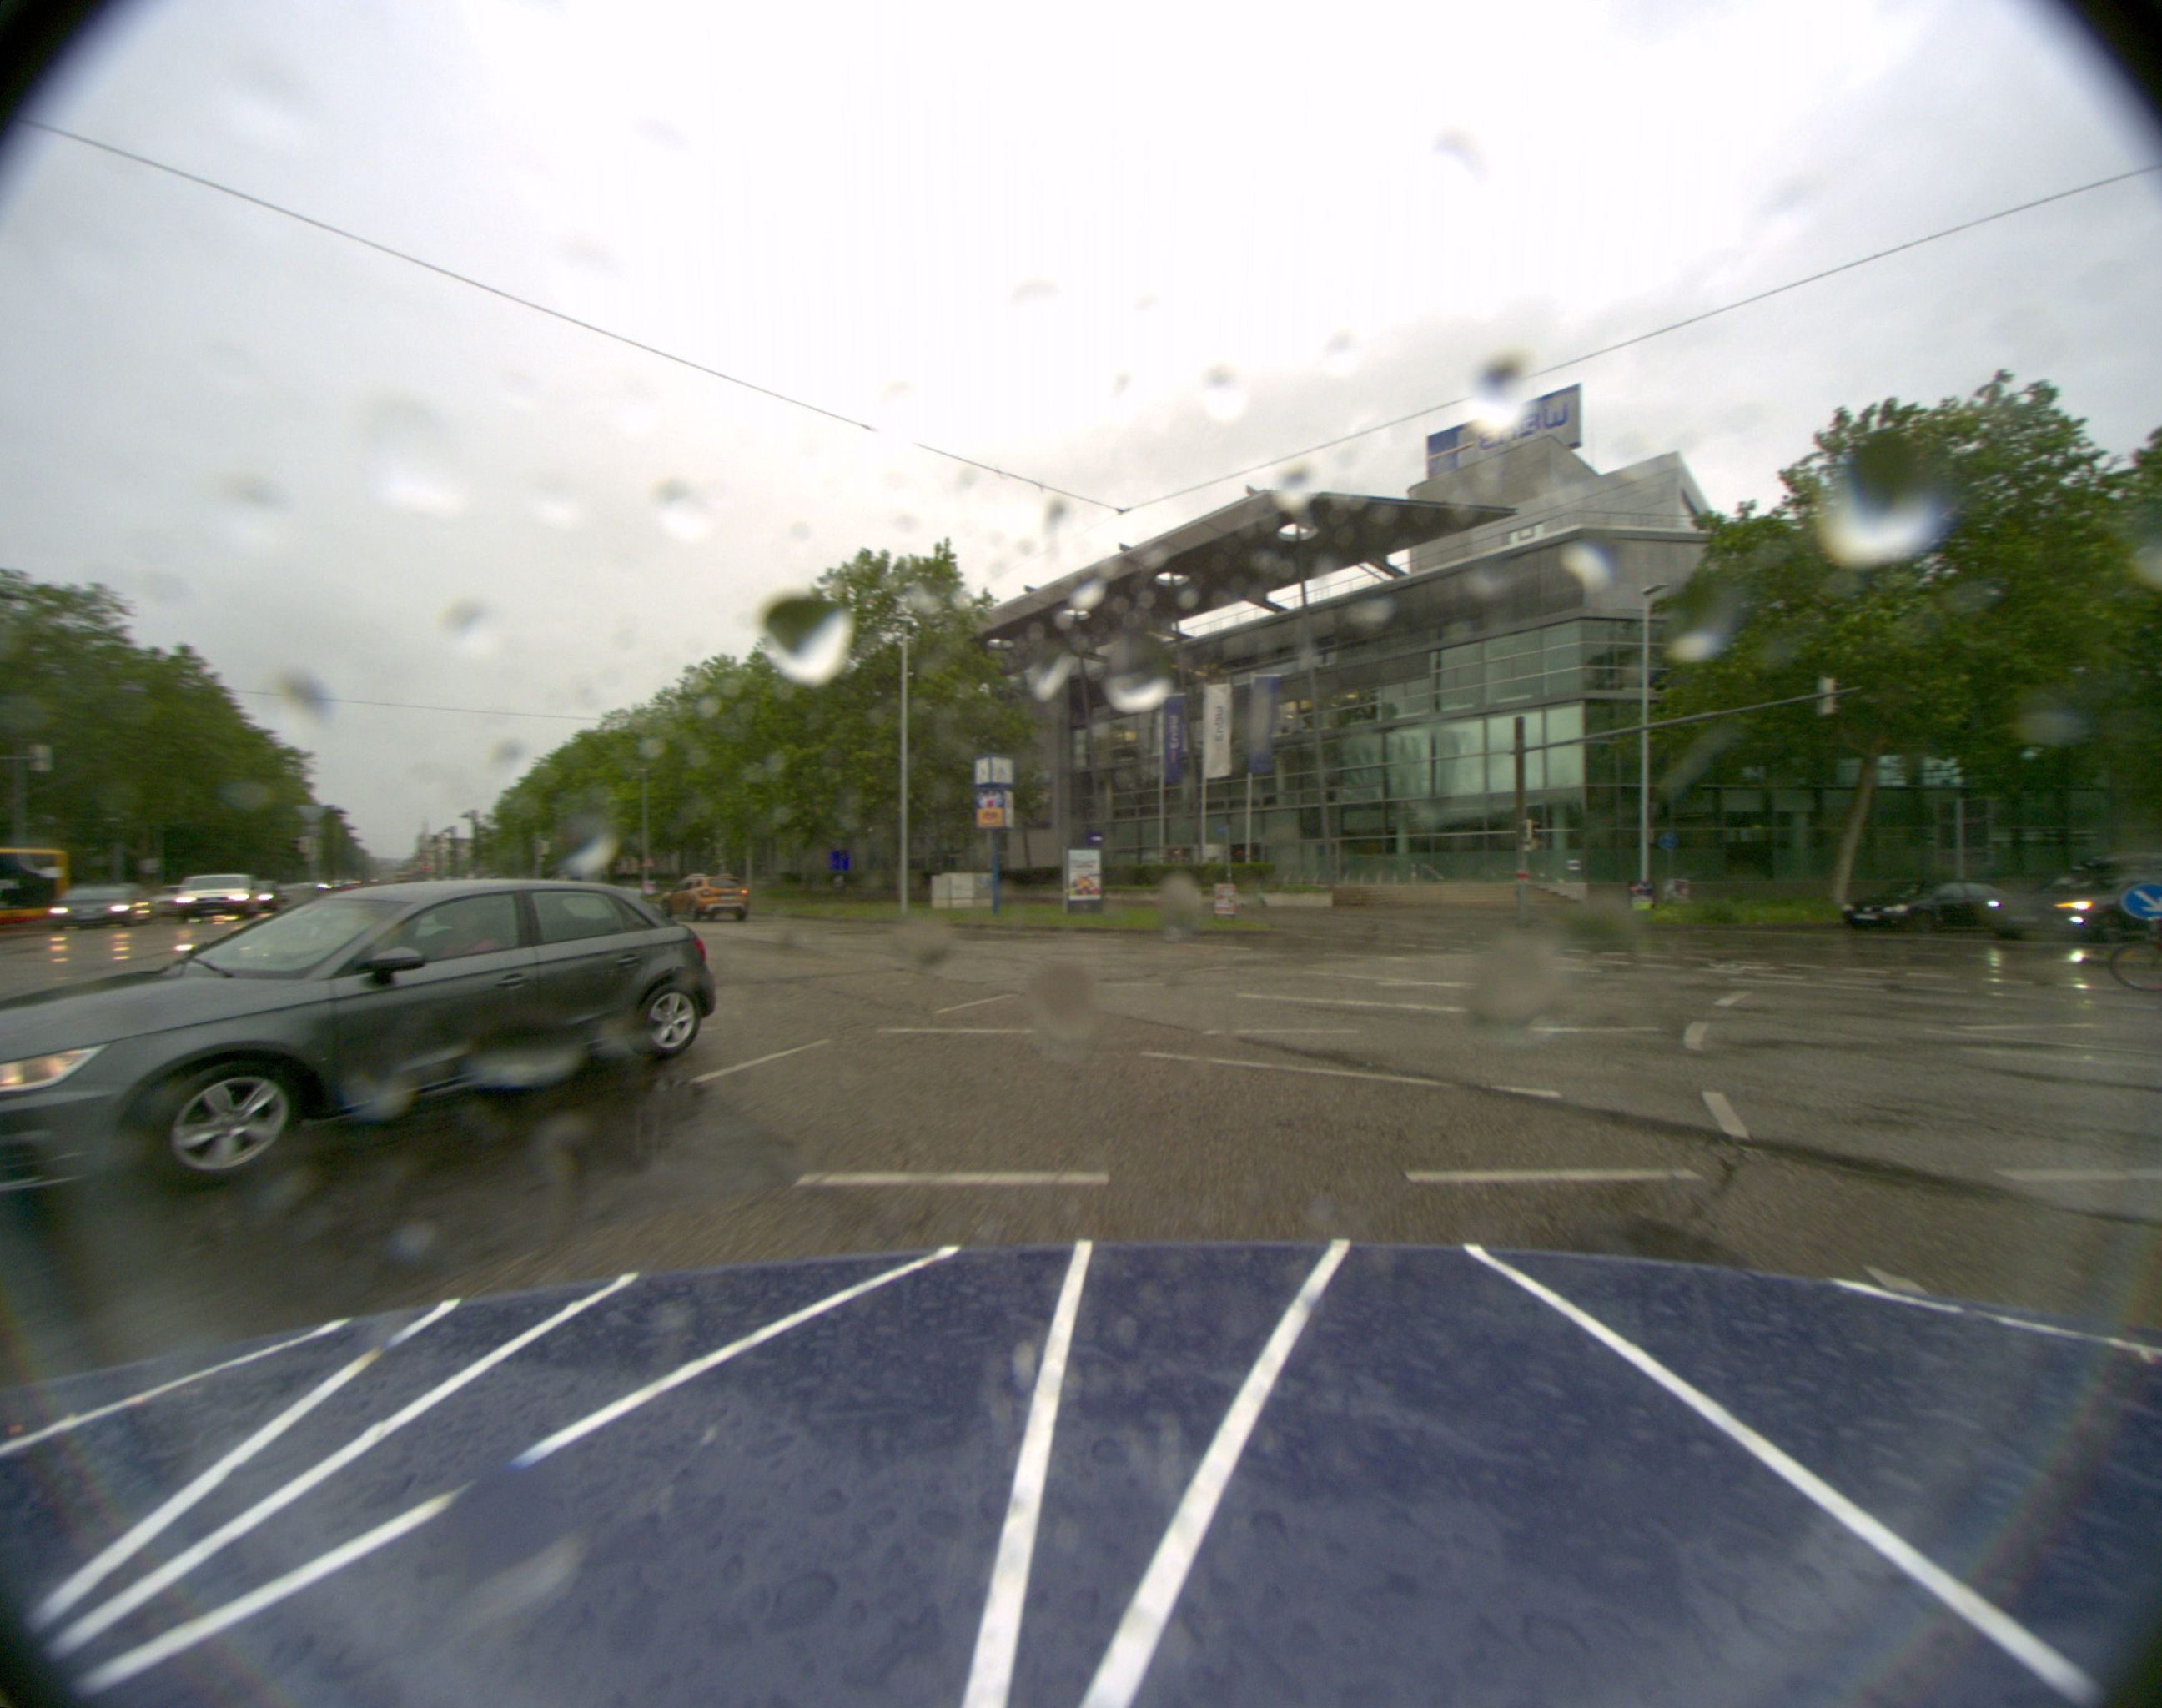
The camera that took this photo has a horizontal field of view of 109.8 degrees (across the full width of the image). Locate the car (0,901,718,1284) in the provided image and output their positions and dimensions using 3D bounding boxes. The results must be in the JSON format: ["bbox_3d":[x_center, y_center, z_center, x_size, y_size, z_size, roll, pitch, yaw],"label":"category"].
[{"bbox_3d":[-4.488,1.041,4.738,1.838,1.389,3.760,-1,-2,22],"label":"car"}]

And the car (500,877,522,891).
[{"bbox_3d":[-67.265,3.568,89.636,1.846,1.543,3.989,0,-1,-41],"label":"car"}]

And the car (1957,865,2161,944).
[{"bbox_3d":[23.937,1.140,18.064,4.327,1.737,1.999,0,0,-7],"label":"car"}]

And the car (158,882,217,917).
[{"bbox_3d":[-48.471,2.414,41.201,3.988,1.744,1.895,-1,-1,38],"label":"car"}]

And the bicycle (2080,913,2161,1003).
[{"bbox_3d":[14.033,1.315,9.439,0.696,1.088,1.908,1,-2,-34],"label":"bicycle"}]

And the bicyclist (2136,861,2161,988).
[{"bbox_3d":[14.034,0.869,9.421,0.806,1.583,1.045,0,-2,-35],"label":"bicyclist"}]

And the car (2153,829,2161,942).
[{"bbox_3d":[26.143,0.636,15.681,5.960,2.419,1.969,0,0,-6],"label":"car"}]

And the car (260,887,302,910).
[{"bbox_3d":[-59.043,3.236,56.076,3.988,1.529,2.004,-1,-1,42],"label":"car"}]

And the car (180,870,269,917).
[{"bbox_3d":[-36.553,1.625,32.562,2.082,1.838,4.733,0,-1,-43],"label":"car"}]

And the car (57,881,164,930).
[{"bbox_3d":[-37.397,1.929,29.404,1.938,1.641,4.330,0,-1,-44],"label":"car"}]

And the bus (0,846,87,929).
[{"bbox_3d":[-43.253,1.269,26.094,3.274,3.249,12.283,0,-1,-7],"label":"bus"}]

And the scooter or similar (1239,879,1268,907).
[{"bbox_3d":[7.067,1.584,31.118,1.171,1.131,0.341,0,0,44],"label":"scooter or similar"}]

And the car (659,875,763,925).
[{"bbox_3d":[-13.292,1.566,27.170,4.158,1.622,1.910,-1,-1,42],"label":"car"}]

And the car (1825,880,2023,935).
[{"bbox_3d":[23.588,1.464,21.338,4.000,1.428,1.802,0,-1,-9],"label":"car"}]

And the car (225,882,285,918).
[{"bbox_3d":[-45.014,2.457,41.378,4.732,1.724,2.082,-1,-1,41],"label":"car"}]
